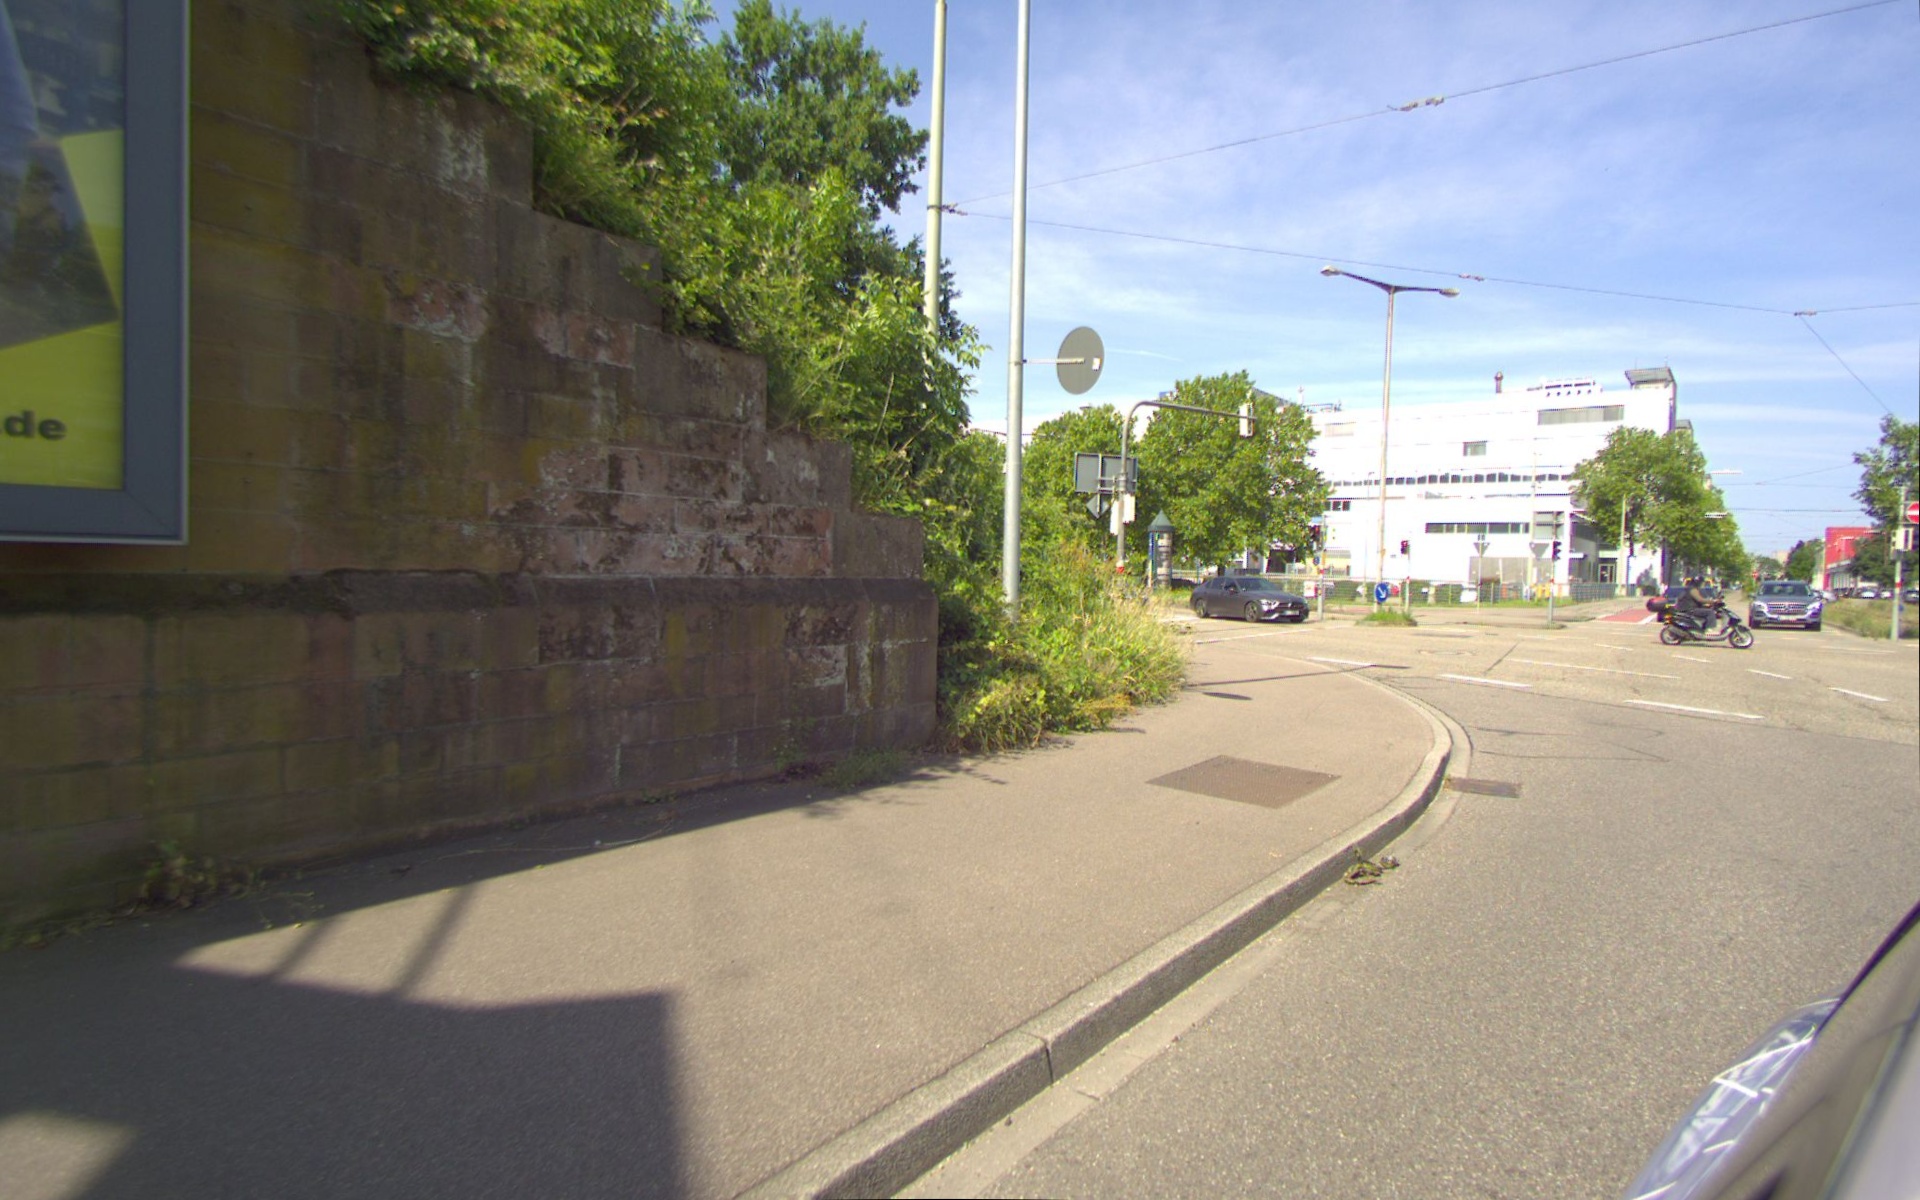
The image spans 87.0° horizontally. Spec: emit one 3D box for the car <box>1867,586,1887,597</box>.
[{"bbox_3d":[130.612,-1.195,144.162,1.842,1.529,4.284,3,2,38],"label":"car"}]

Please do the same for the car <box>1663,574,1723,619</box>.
[{"bbox_3d":[30.828,-0.175,42.499,1.906,1.709,4.564,3,2,37],"label":"car"}]

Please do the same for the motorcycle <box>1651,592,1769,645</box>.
[{"bbox_3d":[17.198,0.400,23.270,2.024,1.096,0.730,3,2,27],"label":"motorcycle"}]

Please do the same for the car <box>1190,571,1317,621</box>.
[{"bbox_3d":[9.204,-0.187,32.167,1.684,1.395,4.483,-1,3,-17],"label":"car"}]

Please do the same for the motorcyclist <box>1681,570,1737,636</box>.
[{"bbox_3d":[17.205,0.051,23.256,0.864,1.464,0.730,2,2,27],"label":"motorcyclist"}]

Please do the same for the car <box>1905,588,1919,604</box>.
[{"bbox_3d":[98.284,-0.382,103.540,1.842,1.529,4.284,3,2,38],"label":"car"}]

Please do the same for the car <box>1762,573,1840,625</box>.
[{"bbox_3d":[30.048,-0.081,36.274,1.906,1.709,4.564,3,2,37],"label":"car"}]

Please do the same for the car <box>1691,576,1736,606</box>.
[{"bbox_3d":[39.120,-0.498,52.516,1.772,1.461,4.564,3,2,37],"label":"car"}]

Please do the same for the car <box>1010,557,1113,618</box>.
[{"bbox_3d":[3.233,-0.453,33.081,1.816,1.837,4.010,1,2,-18],"label":"car"}]

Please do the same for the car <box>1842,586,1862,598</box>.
[{"bbox_3d":[125.720,-1.109,142.608,1.842,1.529,4.284,3,2,38],"label":"car"}]

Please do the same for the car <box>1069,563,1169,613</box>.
[{"bbox_3d":[5.514,-0.458,35.662,1.816,1.580,4.010,1,2,-18],"label":"car"}]

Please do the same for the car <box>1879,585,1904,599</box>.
[{"bbox_3d":[114.206,-1.003,124.056,1.842,1.529,4.284,3,2,38],"label":"car"}]

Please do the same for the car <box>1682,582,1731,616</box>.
[{"bbox_3d":[35.738,-0.092,48.412,1.772,1.461,4.564,3,2,37],"label":"car"}]

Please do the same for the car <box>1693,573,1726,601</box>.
[{"bbox_3d":[53.315,-0.946,71.930,1.772,1.832,4.564,3,2,37],"label":"car"}]

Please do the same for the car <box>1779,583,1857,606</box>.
[{"bbox_3d":[71.402,-0.500,84.300,4.582,1.709,1.898,2,2,27],"label":"car"}]
